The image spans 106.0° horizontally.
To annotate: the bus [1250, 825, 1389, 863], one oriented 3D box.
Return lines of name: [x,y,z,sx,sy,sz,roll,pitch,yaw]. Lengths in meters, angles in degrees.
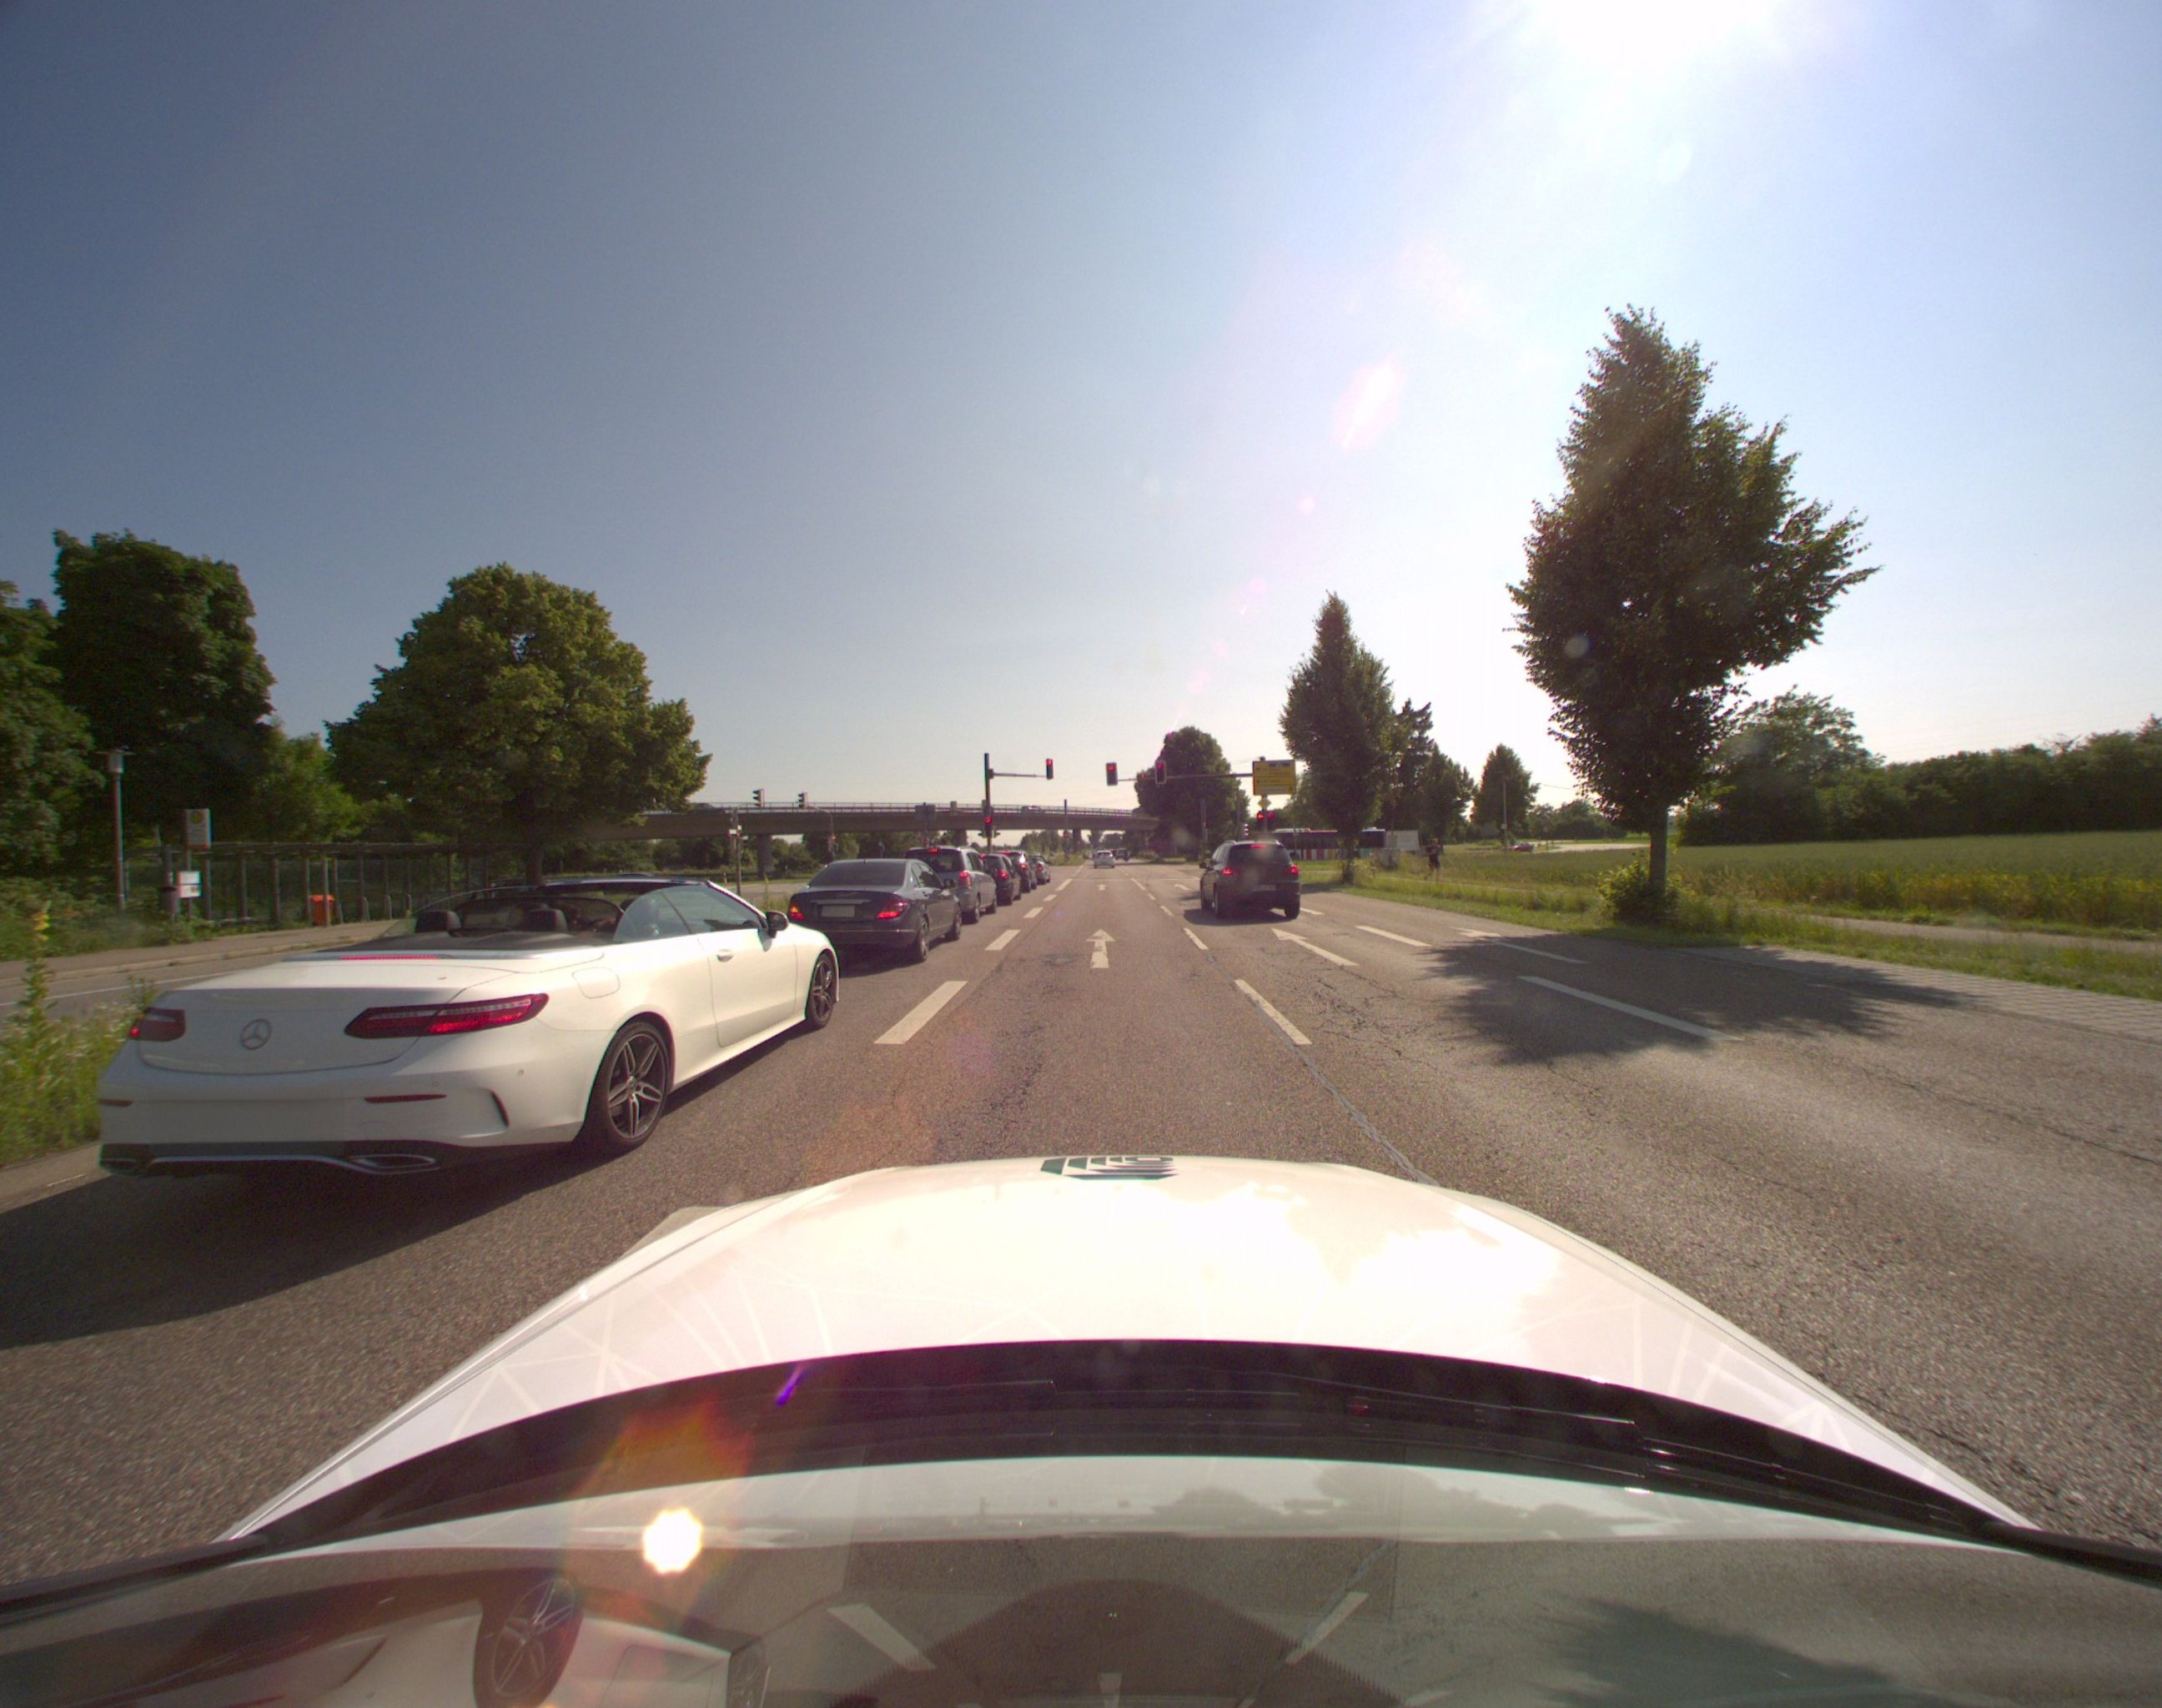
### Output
bus: [21.059,-0.886,71.897,11.955,2.877,2.928,-2,0,-14]

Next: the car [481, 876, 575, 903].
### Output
car: [-32.554,2.055,48.069,4.365,1.280,1.636,-2,0,-28]

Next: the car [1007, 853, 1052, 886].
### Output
car: [-2.296,0.675,37.403,1.667,1.335,4.100,-1,0,2]

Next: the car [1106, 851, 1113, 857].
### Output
car: [7.554,-0.046,215.458,1.986,1.655,4.001,1,-1,2]

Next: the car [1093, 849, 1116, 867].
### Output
car: [2.028,0.349,68.839,1.843,1.461,4.003,0,0,3]

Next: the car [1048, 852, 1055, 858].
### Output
car: [-7.875,0.276,216.147,1.609,1.442,3.777,-4,0,1]

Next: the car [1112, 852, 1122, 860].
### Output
car: [6.894,0.401,156.335,1.986,1.631,4.001,1,-1,1]

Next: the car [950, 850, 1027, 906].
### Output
car: [-2.651,0.650,24.247,1.660,1.474,4.100,-1,0,2]

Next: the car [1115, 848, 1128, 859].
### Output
car: [5.999,-0.081,119.705,1.866,1.640,4.003,0,0,3]

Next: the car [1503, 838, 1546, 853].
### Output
car: [45.631,-0.882,83.716,4.001,1.398,1.670,-2,1,-21]

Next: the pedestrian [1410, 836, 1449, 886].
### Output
pedestrian: [13.170,0.254,30.790,0.899,1.839,1.194,-2,0,-1]

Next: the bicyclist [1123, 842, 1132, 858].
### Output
bicyclist: [5.640,-0.437,98.680,1.003,1.886,1.327,-2,0,1]

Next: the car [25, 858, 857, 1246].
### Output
car: [-3.103,0.775,5.451,1.797,1.425,4.643,-1,0,1]

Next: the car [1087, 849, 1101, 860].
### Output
car: [1.896,0.095,116.030,1.866,1.492,4.003,-1,0,3]

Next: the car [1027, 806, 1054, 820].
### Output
car: [-5.809,-5.900,118.228,1.974,1.838,4.025,0,-1,31]

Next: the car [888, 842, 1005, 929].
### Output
car: [-2.875,0.603,18.377,1.735,1.672,4.359,-2,0,2]

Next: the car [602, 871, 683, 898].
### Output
car: [-27.269,1.849,50.763,4.126,1.424,1.859,-2,0,-19]

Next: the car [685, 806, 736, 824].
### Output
car: [-35.936,-3.780,78.965,1.975,1.486,4.024,0,-1,42]

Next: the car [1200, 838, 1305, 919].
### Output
car: [3.838,0.501,18.867,1.748,1.655,4.149,0,0,3]

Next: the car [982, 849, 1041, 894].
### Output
car: [-2.555,0.596,30.737,1.722,1.547,4.100,-1,0,2]

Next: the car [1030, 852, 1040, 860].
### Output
car: [-9.865,0.476,174.420,1.876,1.515,4.148,-5,0,0]

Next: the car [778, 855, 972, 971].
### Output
car: [-2.870,0.741,12.364,1.708,1.410,4.357,0,0,2]

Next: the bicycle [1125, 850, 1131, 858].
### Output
bicycle: [5.710,-0.002,98.398,0.598,0.983,2.362,-2,0,2]
